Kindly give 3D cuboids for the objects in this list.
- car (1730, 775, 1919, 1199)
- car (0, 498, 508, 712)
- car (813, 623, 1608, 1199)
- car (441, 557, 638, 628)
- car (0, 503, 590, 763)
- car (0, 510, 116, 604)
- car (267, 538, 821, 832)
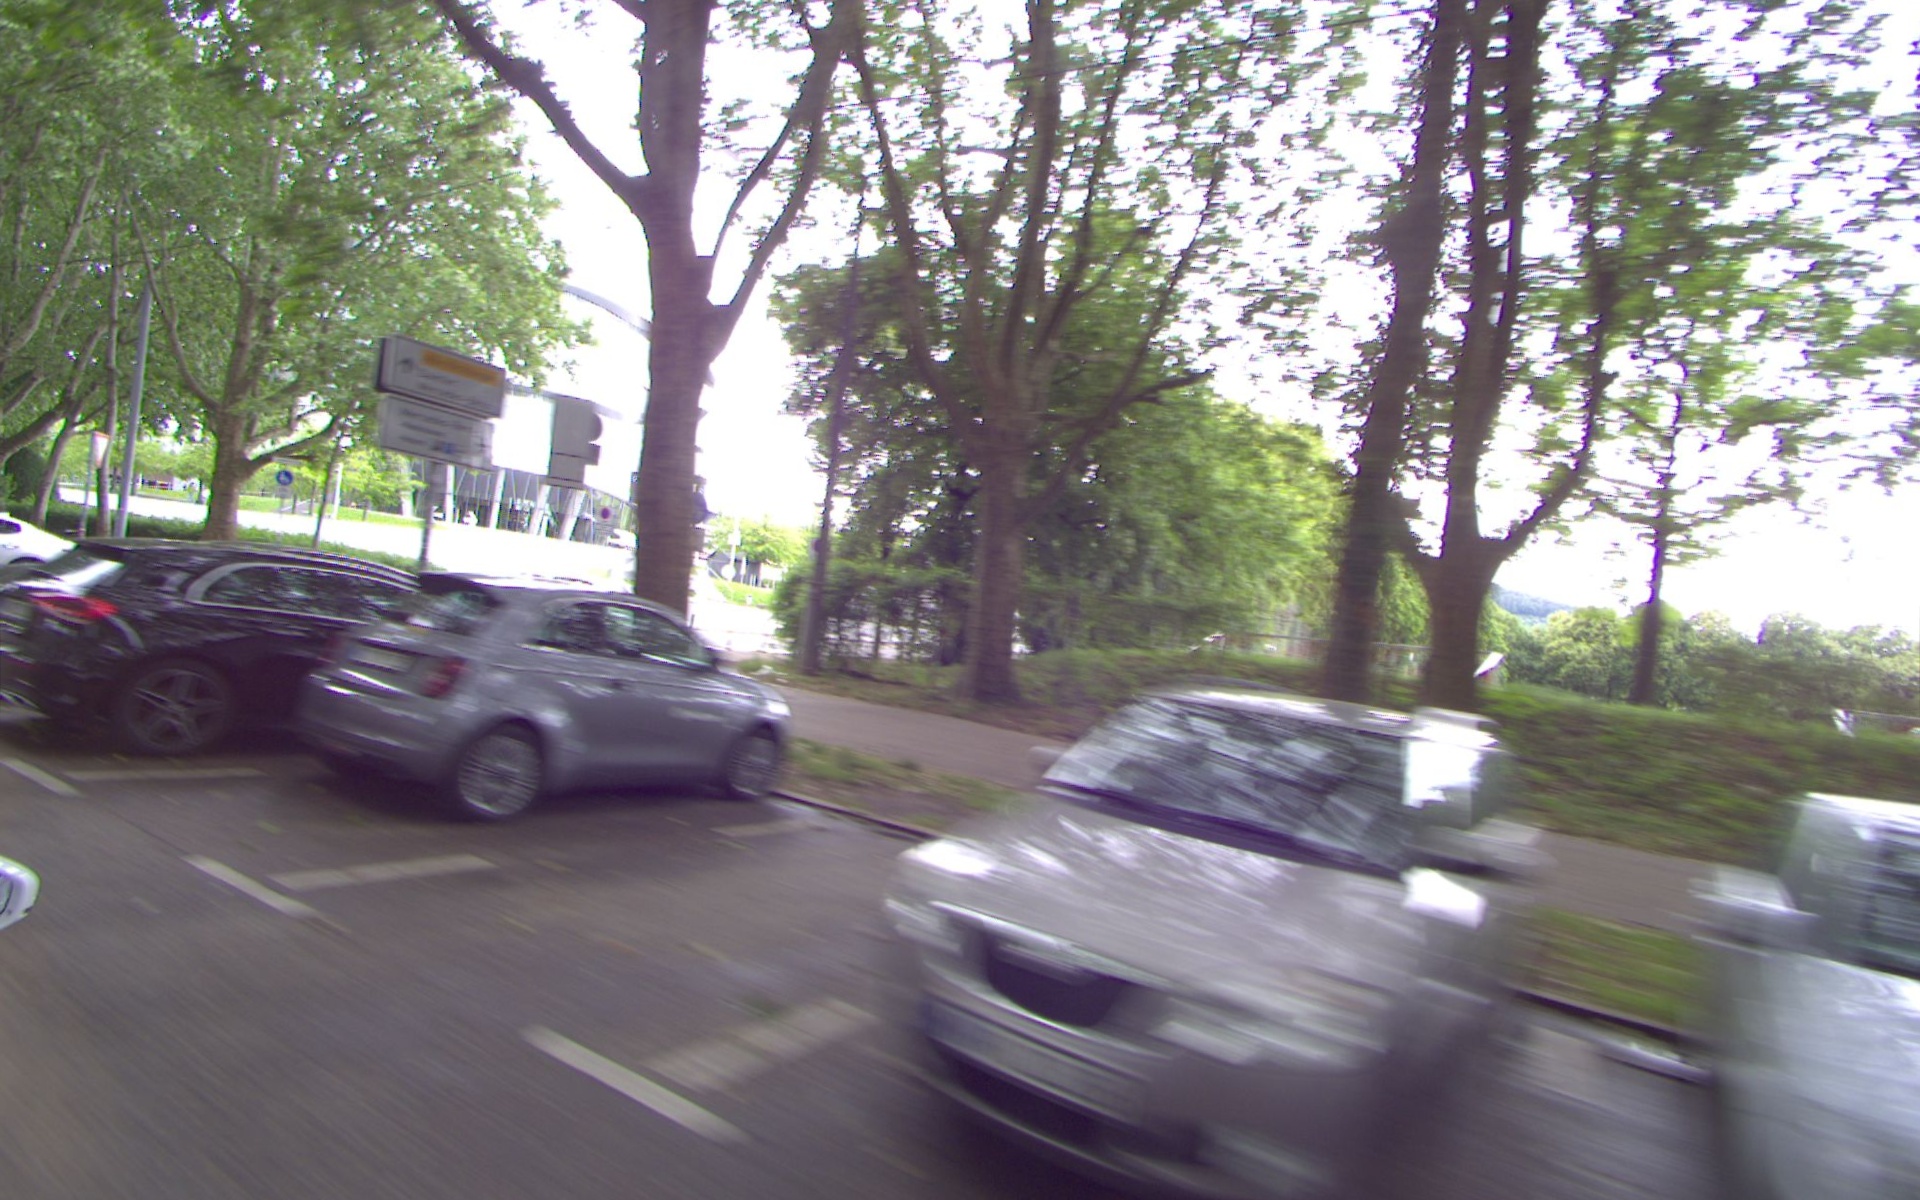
[{"bbox_3d":[3.221,1.390,2.789,1.496,1.440,3.428,7,-2,36],"label":"car"},{"bbox_3d":[-7.026,0.118,9.520,1.893,1.467,4.674,7,-3,30],"label":"car"},{"bbox_3d":[1.368,1.071,4.060,1.498,1.440,3.677,7,-3,41],"label":"car"},{"bbox_3d":[-11.848,-0.148,28.740,1.966,1.419,4.942,7,-1,30],"label":"car"},{"bbox_3d":[-5.092,0.331,7.871,1.529,1.468,3.929,7,-2,30],"label":"car"},{"bbox_3d":[-17.680,-1.041,16.881,1.963,1.417,4.957,7,-4,21],"label":"car"},{"bbox_3d":[-2.772,0.622,7.440,1.529,1.525,3.434,7,-2,30],"label":"car"}]
